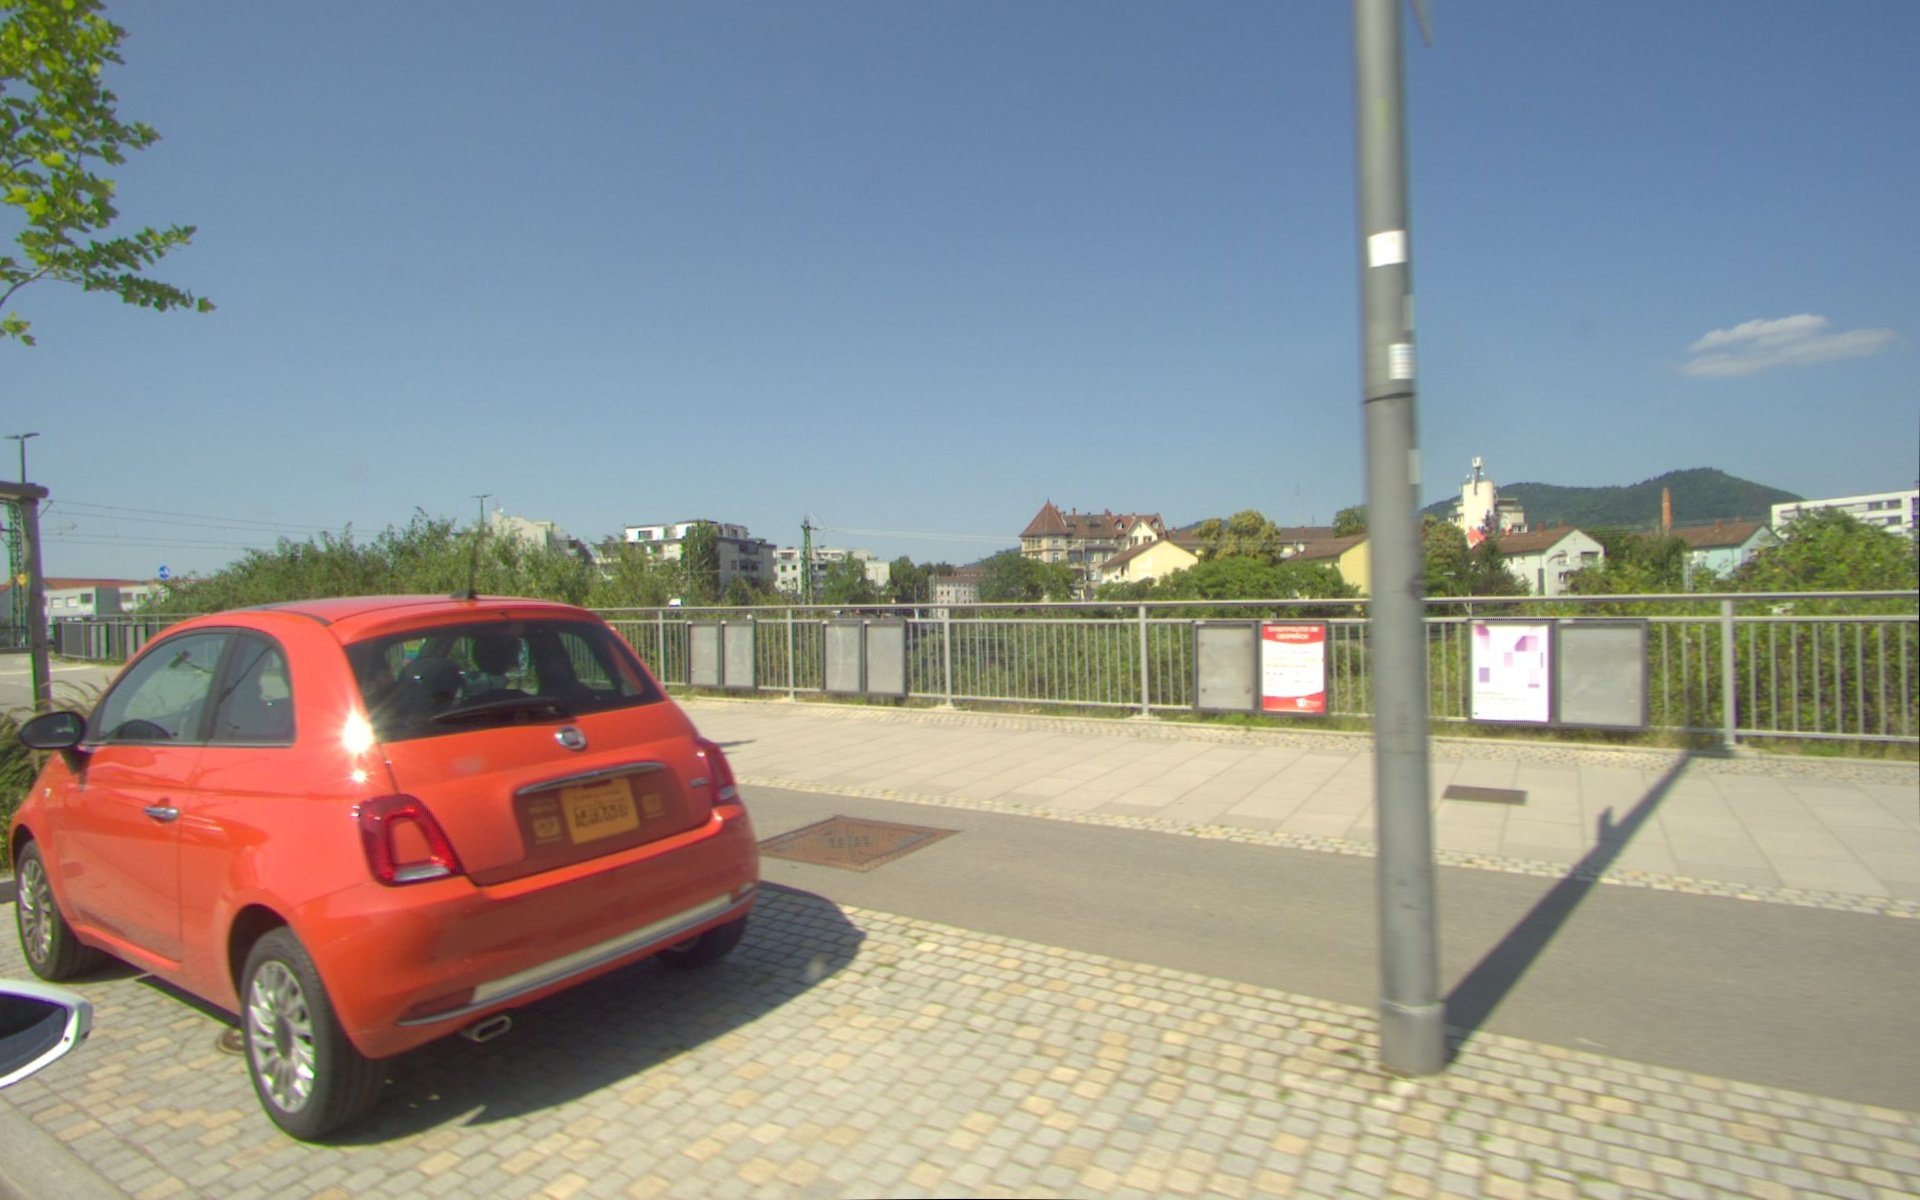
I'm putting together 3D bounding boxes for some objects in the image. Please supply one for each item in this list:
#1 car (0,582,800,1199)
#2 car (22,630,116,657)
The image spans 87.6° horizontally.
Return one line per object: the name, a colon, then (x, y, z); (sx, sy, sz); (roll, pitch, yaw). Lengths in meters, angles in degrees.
car: (-2.431, 0.730, 4.062); (3.306, 1.517, 1.605); (-1, 2, 34)
car: (-49.867, 2.427, 56.123); (1.660, 1.505, 3.632); (-1, -2, 18)
